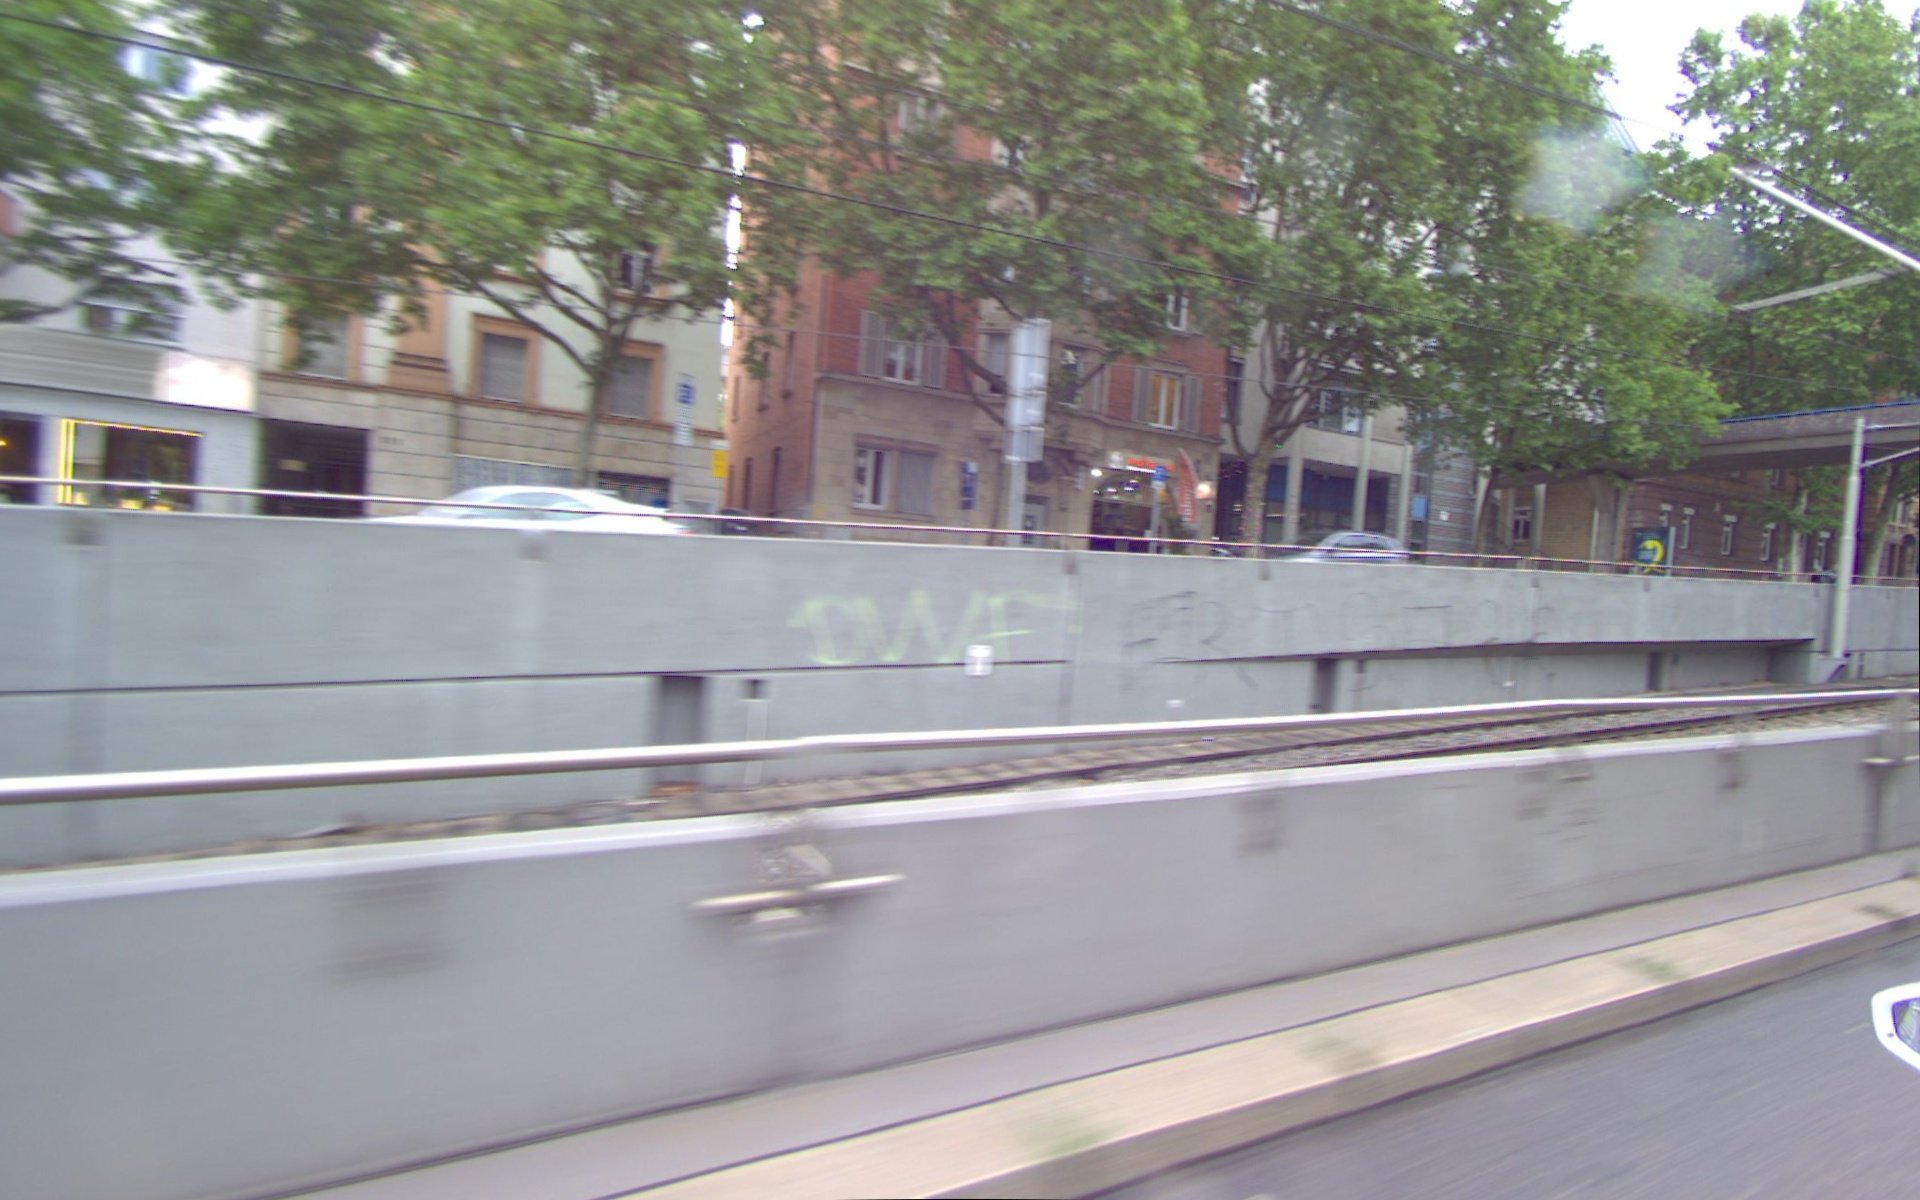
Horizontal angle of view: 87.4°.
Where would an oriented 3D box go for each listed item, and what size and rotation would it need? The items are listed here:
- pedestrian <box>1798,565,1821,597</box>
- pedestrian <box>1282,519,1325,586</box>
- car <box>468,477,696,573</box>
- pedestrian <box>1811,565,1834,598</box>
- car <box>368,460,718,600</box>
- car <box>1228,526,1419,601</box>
[{"bbox_3d":[43.735,-0.974,51.698,0.711,1.646,0.592,0,1,-20],"label":"pedestrian"},{"bbox_3d":[10.781,-1.492,31.566,0.922,2.041,0.667,2,4,-24],"label":"pedestrian"},{"bbox_3d":[-7.480,-1.455,19.915,4.059,1.633,1.787,1,4,-27],"label":"car"},{"bbox_3d":[43.596,-0.926,50.785,0.711,1.646,0.592,0,1,-20],"label":"pedestrian"},{"bbox_3d":[-5.342,-0.857,13.049,3.950,1.531,1.786,1,4,-28],"label":"car"},{"bbox_3d":[8.438,-0.840,23.309,4.054,1.531,1.788,1,4,-26],"label":"car"}]
